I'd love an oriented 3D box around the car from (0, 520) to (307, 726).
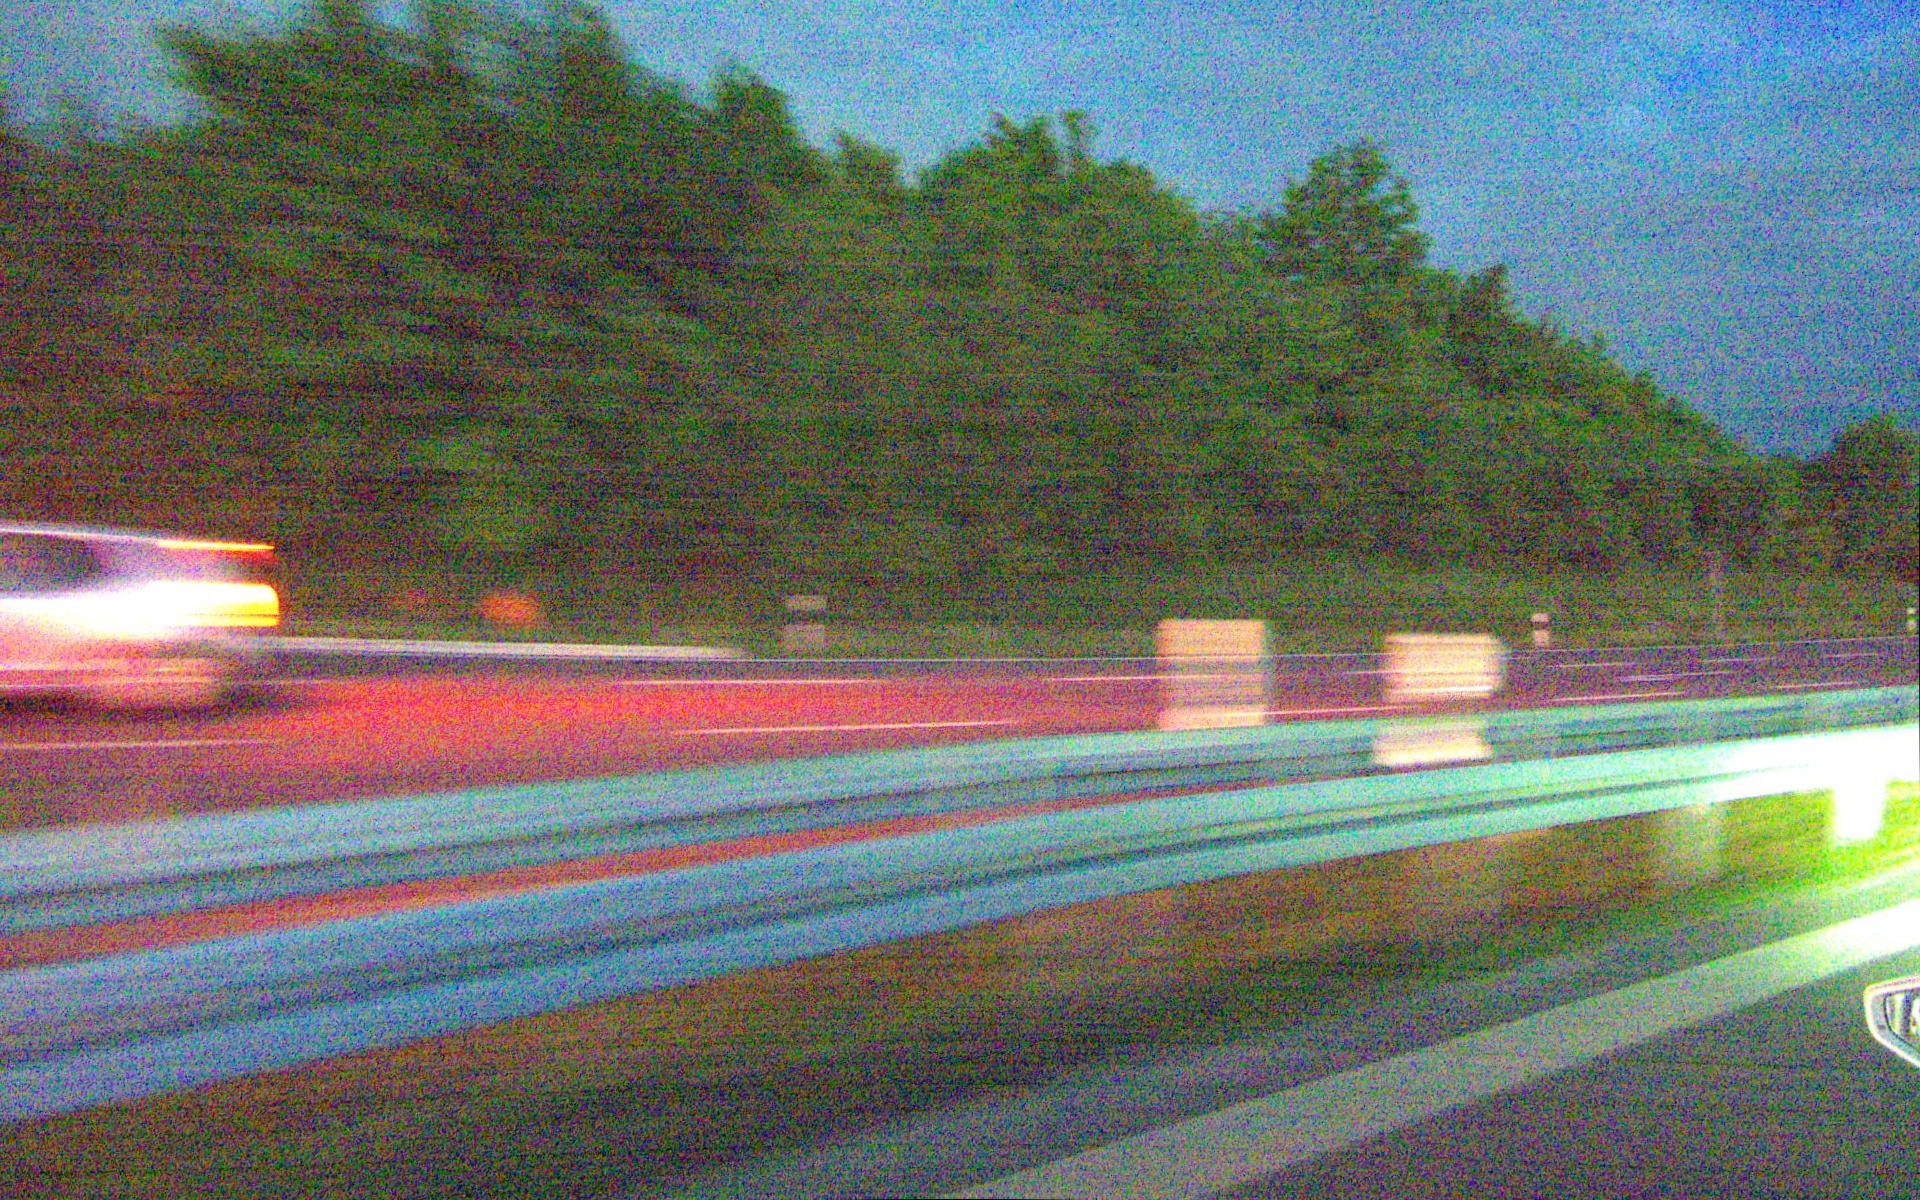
[{"bbox_3d":[-7.459,0.123,7.805,3.763,1.479,1.677,3,1,-27],"label":"car"}]
